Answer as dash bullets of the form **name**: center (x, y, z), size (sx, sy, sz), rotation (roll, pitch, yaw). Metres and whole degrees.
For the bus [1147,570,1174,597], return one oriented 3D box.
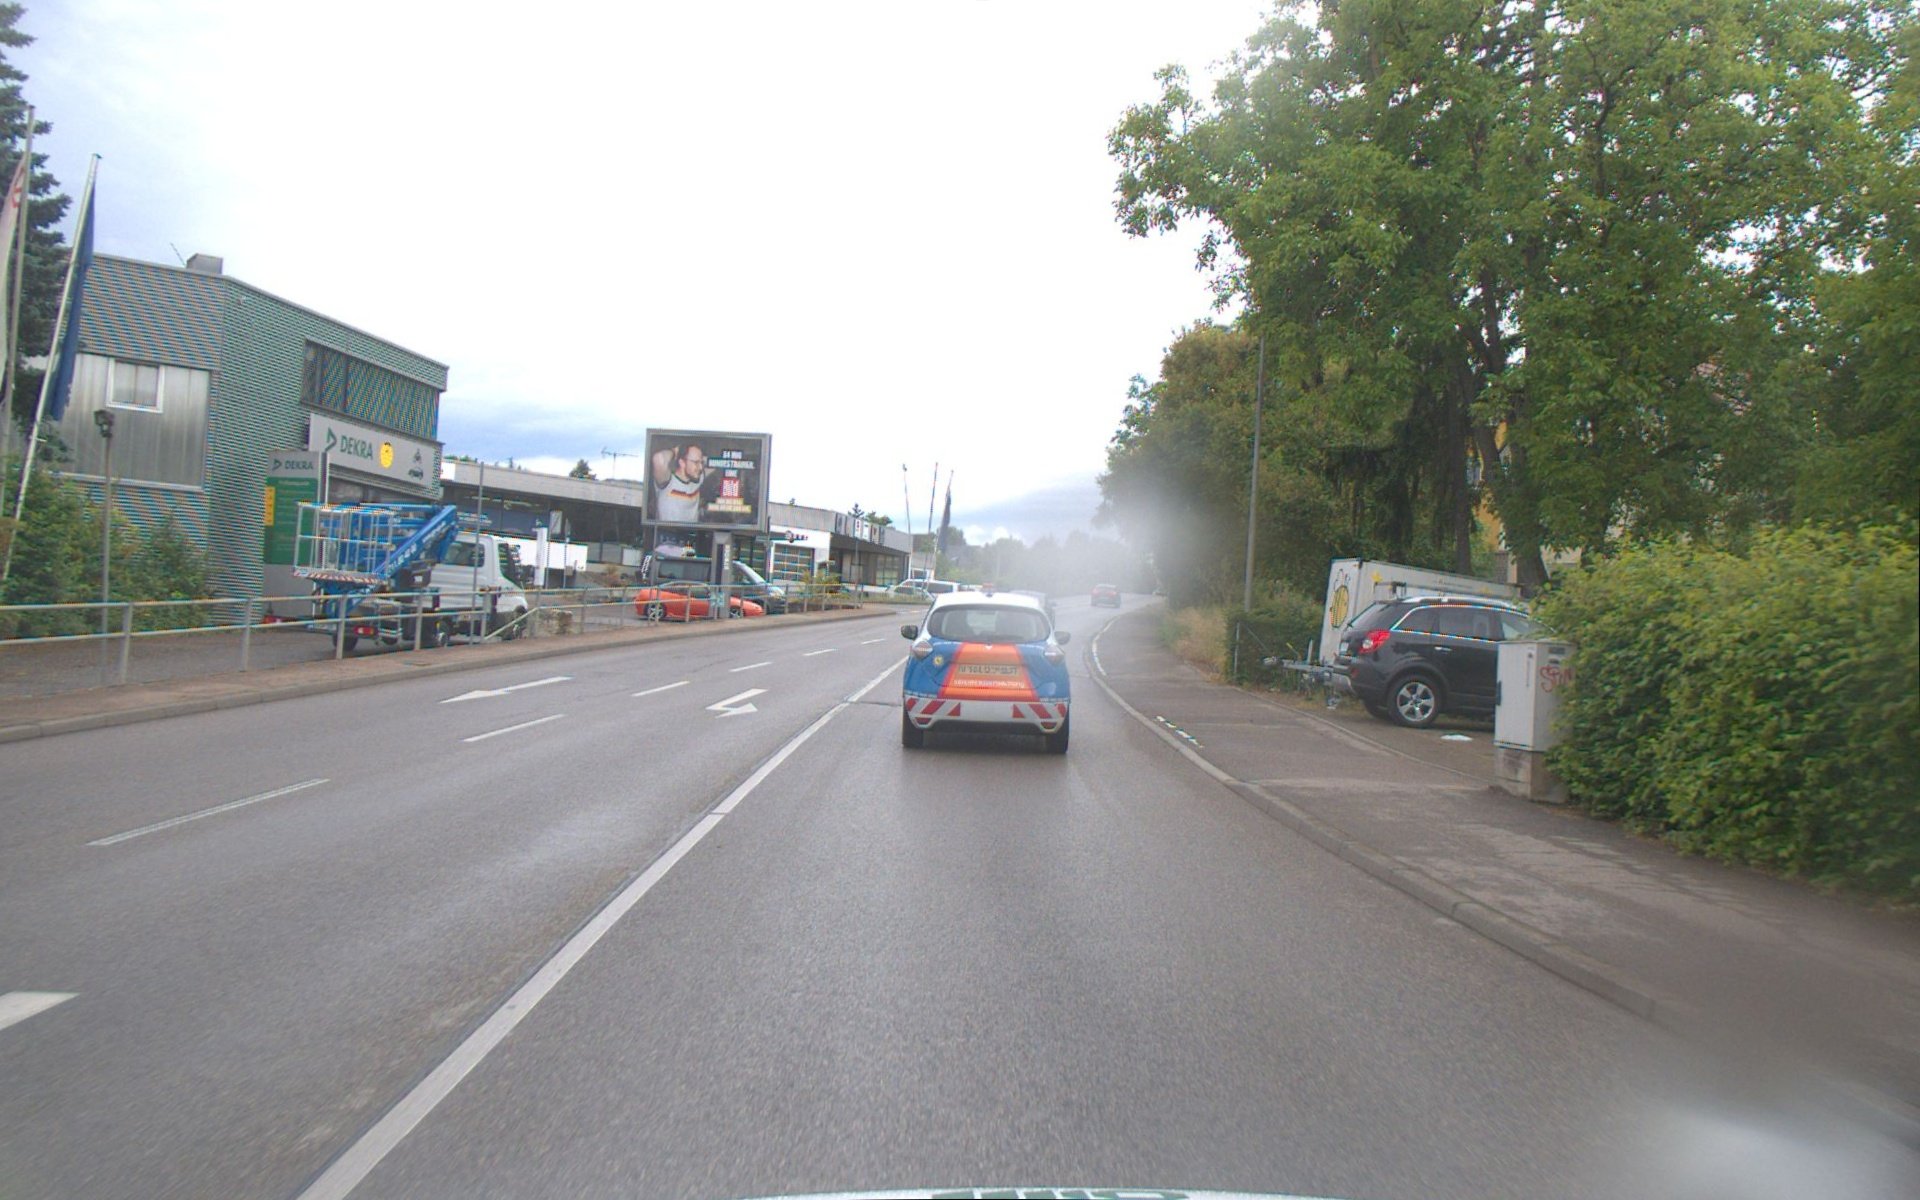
- **bus**: center (26.150, -2.119, 216.309), size (2.850, 3.225, 11.472), rotation (2, 0, 4)

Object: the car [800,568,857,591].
- **car**: center (-9.458, -1.446, 118.921), size (3.953, 1.440, 1.941), rotation (4, 2, 43)

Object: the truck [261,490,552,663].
- **truck**: center (-9.794, -0.488, 30.278), size (1.951, 2.678, 7.899), rotation (2, 2, 5)

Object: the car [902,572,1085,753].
- **car**: center (0.260, 0.598, 17.626), size (1.624, 1.620, 3.566), rotation (4, 0, -3)

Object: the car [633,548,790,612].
- **car**: center (-8.345, -0.669, 55.826), size (4.964, 1.903, 1.823), rotation (3, 0, 0)

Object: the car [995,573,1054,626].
- **car**: center (2.164, -0.023, 54.557), size (1.764, 1.617, 3.565), rotation (2, 0, 4)

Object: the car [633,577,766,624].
- **car**: center (-8.269, -0.008, 52.802), size (4.011, 1.289, 1.768), rotation (3, 0, -5)

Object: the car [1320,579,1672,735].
- **car**: center (7.228, 0.731, 22.675), size (4.126, 1.780, 1.985), rotation (3, 1, 2)

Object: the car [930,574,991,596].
- **car**: center (0.027, -1.034, 112.857), size (3.977, 1.313, 1.806), rotation (3, 1, 5)

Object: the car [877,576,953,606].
- **car**: center (-2.474, -0.509, 91.980), size (3.924, 1.504, 1.825), rotation (3, 1, 7)

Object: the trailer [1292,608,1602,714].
- **trailer**: center (7.507, 0.924, 25.760), size (4.307, 1.310, 1.572), rotation (3, 1, 0)

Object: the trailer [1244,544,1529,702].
- **trailer**: center (7.631, 0.393, 29.810), size (4.449, 2.442, 1.946), rotation (4, 0, -7)

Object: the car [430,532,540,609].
- **car**: center (-14.130, -0.921, 49.003), size (1.972, 2.021, 4.830), rotation (4, 1, -30)

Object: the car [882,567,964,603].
- **car**: center (-2.093, -0.869, 94.527), size (4.319, 1.829, 1.936), rotation (3, 1, 7)

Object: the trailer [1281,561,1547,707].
- **trailer**: center (7.541, 0.544, 27.735), size (3.872, 2.056, 1.687), rotation (5, 0, 0)

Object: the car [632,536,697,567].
- **car**: center (-16.138, -2.647, 90.488), size (1.780, 1.504, 4.024), rotation (3, 1, 17)

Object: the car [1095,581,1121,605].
- **car**: center (9.618, -0.457, 107.376), size (1.580, 1.432, 3.500), rotation (2, 0, 6)
